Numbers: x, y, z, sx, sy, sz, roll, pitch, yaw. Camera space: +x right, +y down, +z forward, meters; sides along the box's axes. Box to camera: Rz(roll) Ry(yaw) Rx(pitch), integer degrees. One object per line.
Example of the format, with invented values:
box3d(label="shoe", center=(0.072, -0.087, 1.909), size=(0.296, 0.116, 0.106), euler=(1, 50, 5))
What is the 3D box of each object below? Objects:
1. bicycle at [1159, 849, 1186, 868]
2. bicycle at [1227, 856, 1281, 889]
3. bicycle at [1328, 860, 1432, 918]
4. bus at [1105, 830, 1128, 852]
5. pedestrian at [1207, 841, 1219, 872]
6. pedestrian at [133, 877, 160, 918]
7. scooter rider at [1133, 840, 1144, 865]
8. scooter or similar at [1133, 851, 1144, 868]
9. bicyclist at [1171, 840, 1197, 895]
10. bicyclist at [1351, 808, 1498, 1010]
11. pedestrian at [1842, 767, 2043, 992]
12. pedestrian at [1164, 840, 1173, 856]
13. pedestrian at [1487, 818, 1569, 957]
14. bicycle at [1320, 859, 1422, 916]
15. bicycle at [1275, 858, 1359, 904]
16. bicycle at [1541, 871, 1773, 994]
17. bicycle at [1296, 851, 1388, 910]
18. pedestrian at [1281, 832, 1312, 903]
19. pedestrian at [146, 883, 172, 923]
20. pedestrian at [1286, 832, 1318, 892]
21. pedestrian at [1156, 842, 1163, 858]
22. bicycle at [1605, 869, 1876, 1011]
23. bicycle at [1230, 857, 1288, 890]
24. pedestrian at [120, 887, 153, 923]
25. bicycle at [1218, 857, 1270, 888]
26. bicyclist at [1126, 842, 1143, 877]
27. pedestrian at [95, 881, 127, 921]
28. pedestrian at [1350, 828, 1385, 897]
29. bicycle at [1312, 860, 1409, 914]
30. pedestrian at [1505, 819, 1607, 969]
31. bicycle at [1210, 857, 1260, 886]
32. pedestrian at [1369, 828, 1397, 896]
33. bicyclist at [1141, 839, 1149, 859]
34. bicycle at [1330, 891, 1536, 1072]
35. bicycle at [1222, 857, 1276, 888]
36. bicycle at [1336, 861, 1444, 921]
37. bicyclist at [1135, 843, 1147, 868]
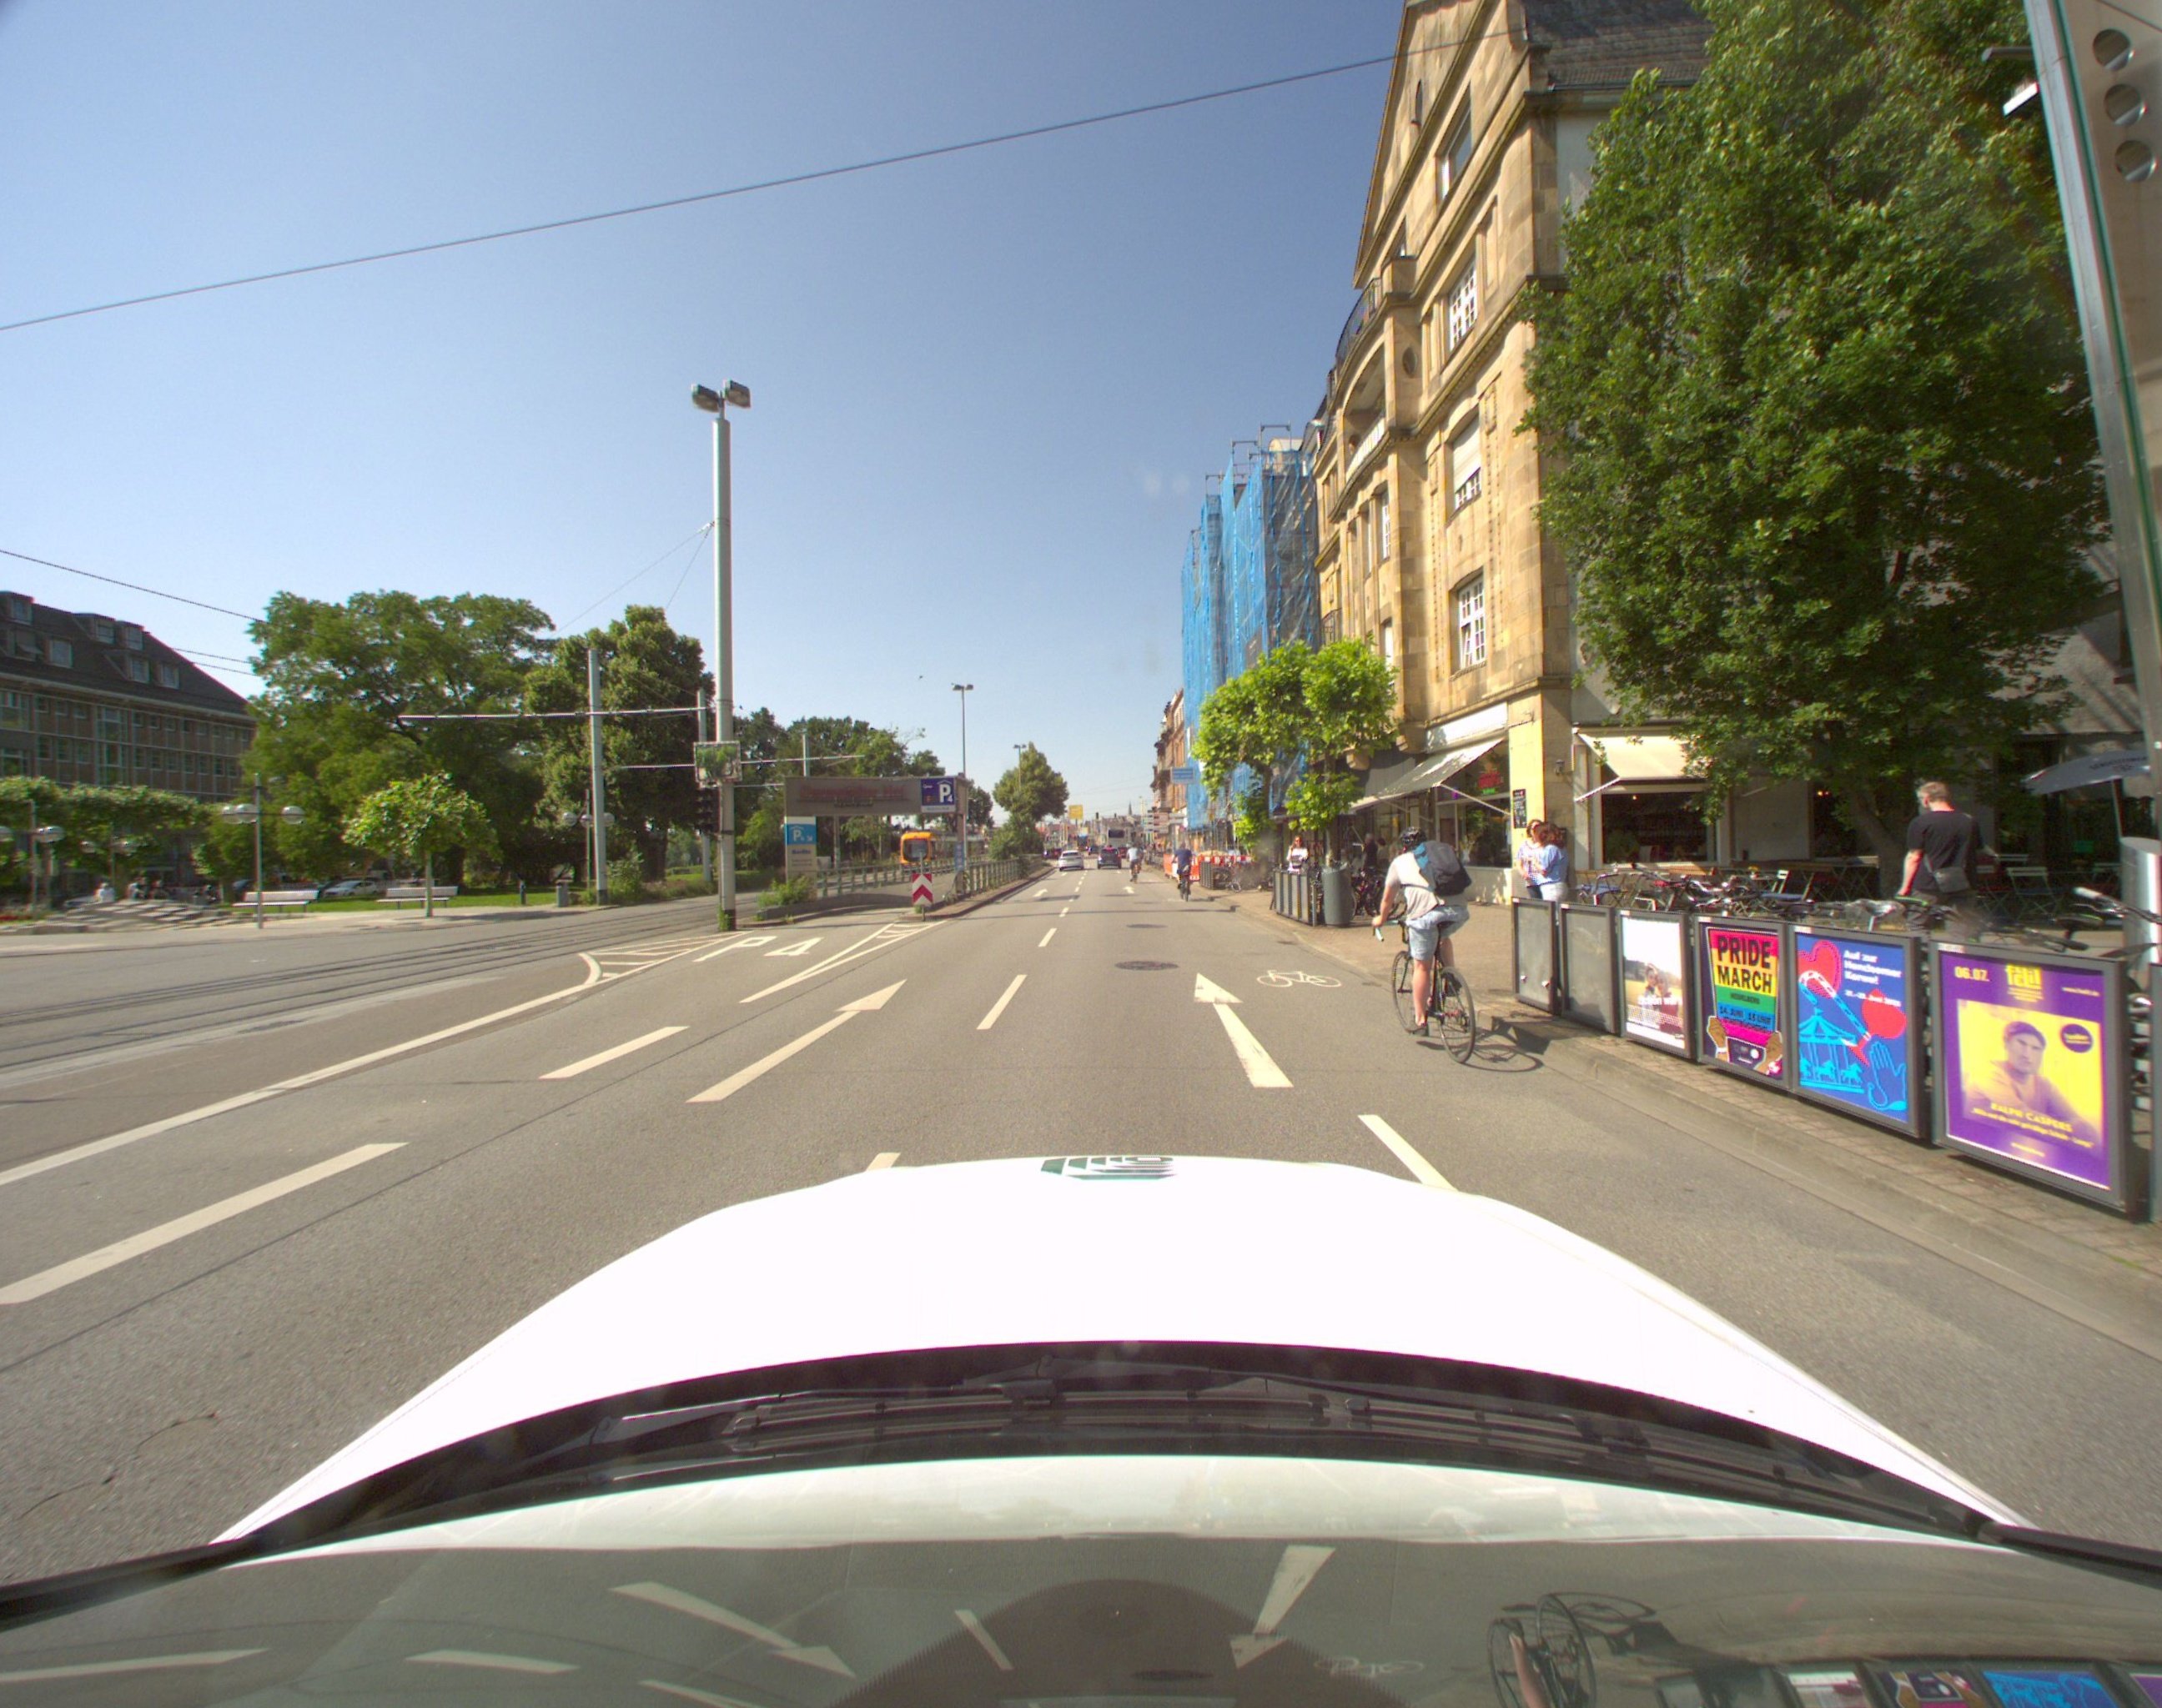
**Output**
box3d(label="bicycle", center=(5.780, 0.282, 51.559), size=(1.687, 1.178, 0.609), euler=(-1, 0, 1))
box3d(label="bicycle", center=(5.821, 0.615, 27.414), size=(1.756, 1.018, 0.480), euler=(-1, 0, -15))
box3d(label="bicycle", center=(5.549, 0.635, 15.171), size=(1.747, 1.018, 0.483), euler=(-1, 0, -1))
box3d(label="bus", center=(4.824, -1.696, 109.369), size=(2.957, 2.776, 8.647), euler=(0, 0, 3))
box3d(label="pedestrian", center=(7.755, 0.131, 47.880), size=(0.637, 1.776, 0.649), euler=(0, 0, 1))
box3d(label="pedestrian", center=(-38.231, 1.762, 33.317), size=(0.450, 1.609, 0.466), euler=(-4, 1, 2))
box3d(label="scooter rider", center=(3.996, -0.120, 56.386), size=(0.686, 1.729, 0.778), euler=(0, 0, 0))
box3d(label="scooter or similar", center=(3.977, 0.346, 56.361), size=(0.686, 1.167, 1.463), euler=(0, 0, 0))
box3d(label="bicyclist", center=(3.070, 0.390, 24.353), size=(0.686, 1.616, 0.918), euler=(0, 0, 0))
box3d(label="bicyclist", center=(2.668, 0.395, 6.455), size=(0.686, 1.463, 1.143), euler=(0, 0, 0))
box3d(label="pedestrian", center=(7.369, 0.207, 7.025), size=(0.664, 1.781, 0.986), euler=(-2, 0, 6))
box3d(label="pedestrian", center=(9.182, -0.634, 85.505), size=(0.753, 1.655, 0.837), euler=(-5, 0, 0))
box3d(label="pedestrian", center=(5.519, 0.400, 10.086), size=(0.596, 1.626, 0.645), euler=(-4, 0, 6))
box3d(label="bicycle", center=(5.586, 0.635, 15.747), size=(1.747, 1.018, 0.587), euler=(-2, 0, -1))
box3d(label="bicycle", center=(5.413, 0.619, 18.689), size=(1.737, 1.018, 0.661), euler=(-1, 0, 24))
box3d(label="bicycle", center=(5.140, 0.685, 7.317), size=(1.747, 1.018, 0.483), euler=(-1, 0, -1))
box3d(label="bicycle", center=(5.491, 0.540, 17.187), size=(1.747, 1.181, 0.579), euler=(-1, 0, -1))
box3d(label="pedestrian", center=(5.246, 0.323, 19.867), size=(0.652, 1.683, 0.655), euler=(-2, -1, 12))
box3d(label="pedestrian", center=(-38.800, 2.048, 34.280), size=(0.413, 1.609, 0.493), euler=(-4, 1, -8))
box3d(label="pedestrian", center=(7.021, 0.243, 25.947), size=(0.809, 1.848, 0.893), euler=(-3, 0, 9))
box3d(label="pedestrian", center=(8.252, -0.428, 85.426), size=(0.652, 1.620, 0.815), euler=(-2, 1, 0))
box3d(label="bicycle", center=(5.167, 0.657, 6.427), size=(1.747, 1.018, 0.483), euler=(-1, 0, -1))
box3d(label="bicycle", center=(5.777, 0.624, 26.429), size=(1.747, 1.018, 0.483), euler=(-1, 0, -1))
box3d(label="pedestrian", center=(-40.606, 2.187, 35.018), size=(0.524, 1.493, 0.660), euler=(-4, 1, -7))
box3d(label="bicycle", center=(5.770, 0.654, 28.898), size=(1.747, 1.018, 0.483), euler=(-1, 0, -1))
box3d(label="bicyclist", center=(2.430, 0.229, 37.165), size=(0.686, 1.576, 1.049), euler=(0, 0, 0))
box3d(label="pedestrian", center=(-41.292, 1.986, 34.679), size=(0.492, 1.609, 0.619), euler=(-4, 1, -8))
box3d(label="pedestrian", center=(7.195, 0.208, 20.439), size=(0.538, 1.683, 0.496), euler=(-3, -1, -23))
box3d(label="bicycle", center=(5.607, 0.647, 16.381), size=(1.747, 1.018, 0.557), euler=(-1, 0, -1))
box3d(label="pedestrian", center=(5.454, 0.444, 9.389), size=(0.693, 1.626, 0.702), euler=(-3, 0, 0))
box3d(label="bicycle", center=(5.715, 0.649, 30.273), size=(1.747, 1.018, 0.483), euler=(-1, 0, -1))
box3d(label="pedestrian", center=(7.672, 0.208, 20.698), size=(0.476, 1.683, 0.379), euler=(-3, 0, -17))
box3d(label="bicyclist", center=(6.290, -0.534, 80.221), size=(0.686, 1.962, 0.778), euler=(0, 0, 0))
box3d(label="bicycle", center=(2.666, 0.898, 6.478), size=(0.731, 1.093, 2.130), euler=(0, 0, 0))
box3d(label="bicycle", center=(5.819, 0.635, 28.270), size=(1.747, 1.018, 0.483), euler=(-1, 0, -1))
box3d(label="bicycle", center=(5.543, 0.653, 14.631), size=(1.747, 1.018, 0.483), euler=(-1, 0, -1))
box3d(label="bicyclist", center=(3.848, 0.105, 52.409), size=(0.686, 1.576, 1.049), euler=(0, 0, 0))
